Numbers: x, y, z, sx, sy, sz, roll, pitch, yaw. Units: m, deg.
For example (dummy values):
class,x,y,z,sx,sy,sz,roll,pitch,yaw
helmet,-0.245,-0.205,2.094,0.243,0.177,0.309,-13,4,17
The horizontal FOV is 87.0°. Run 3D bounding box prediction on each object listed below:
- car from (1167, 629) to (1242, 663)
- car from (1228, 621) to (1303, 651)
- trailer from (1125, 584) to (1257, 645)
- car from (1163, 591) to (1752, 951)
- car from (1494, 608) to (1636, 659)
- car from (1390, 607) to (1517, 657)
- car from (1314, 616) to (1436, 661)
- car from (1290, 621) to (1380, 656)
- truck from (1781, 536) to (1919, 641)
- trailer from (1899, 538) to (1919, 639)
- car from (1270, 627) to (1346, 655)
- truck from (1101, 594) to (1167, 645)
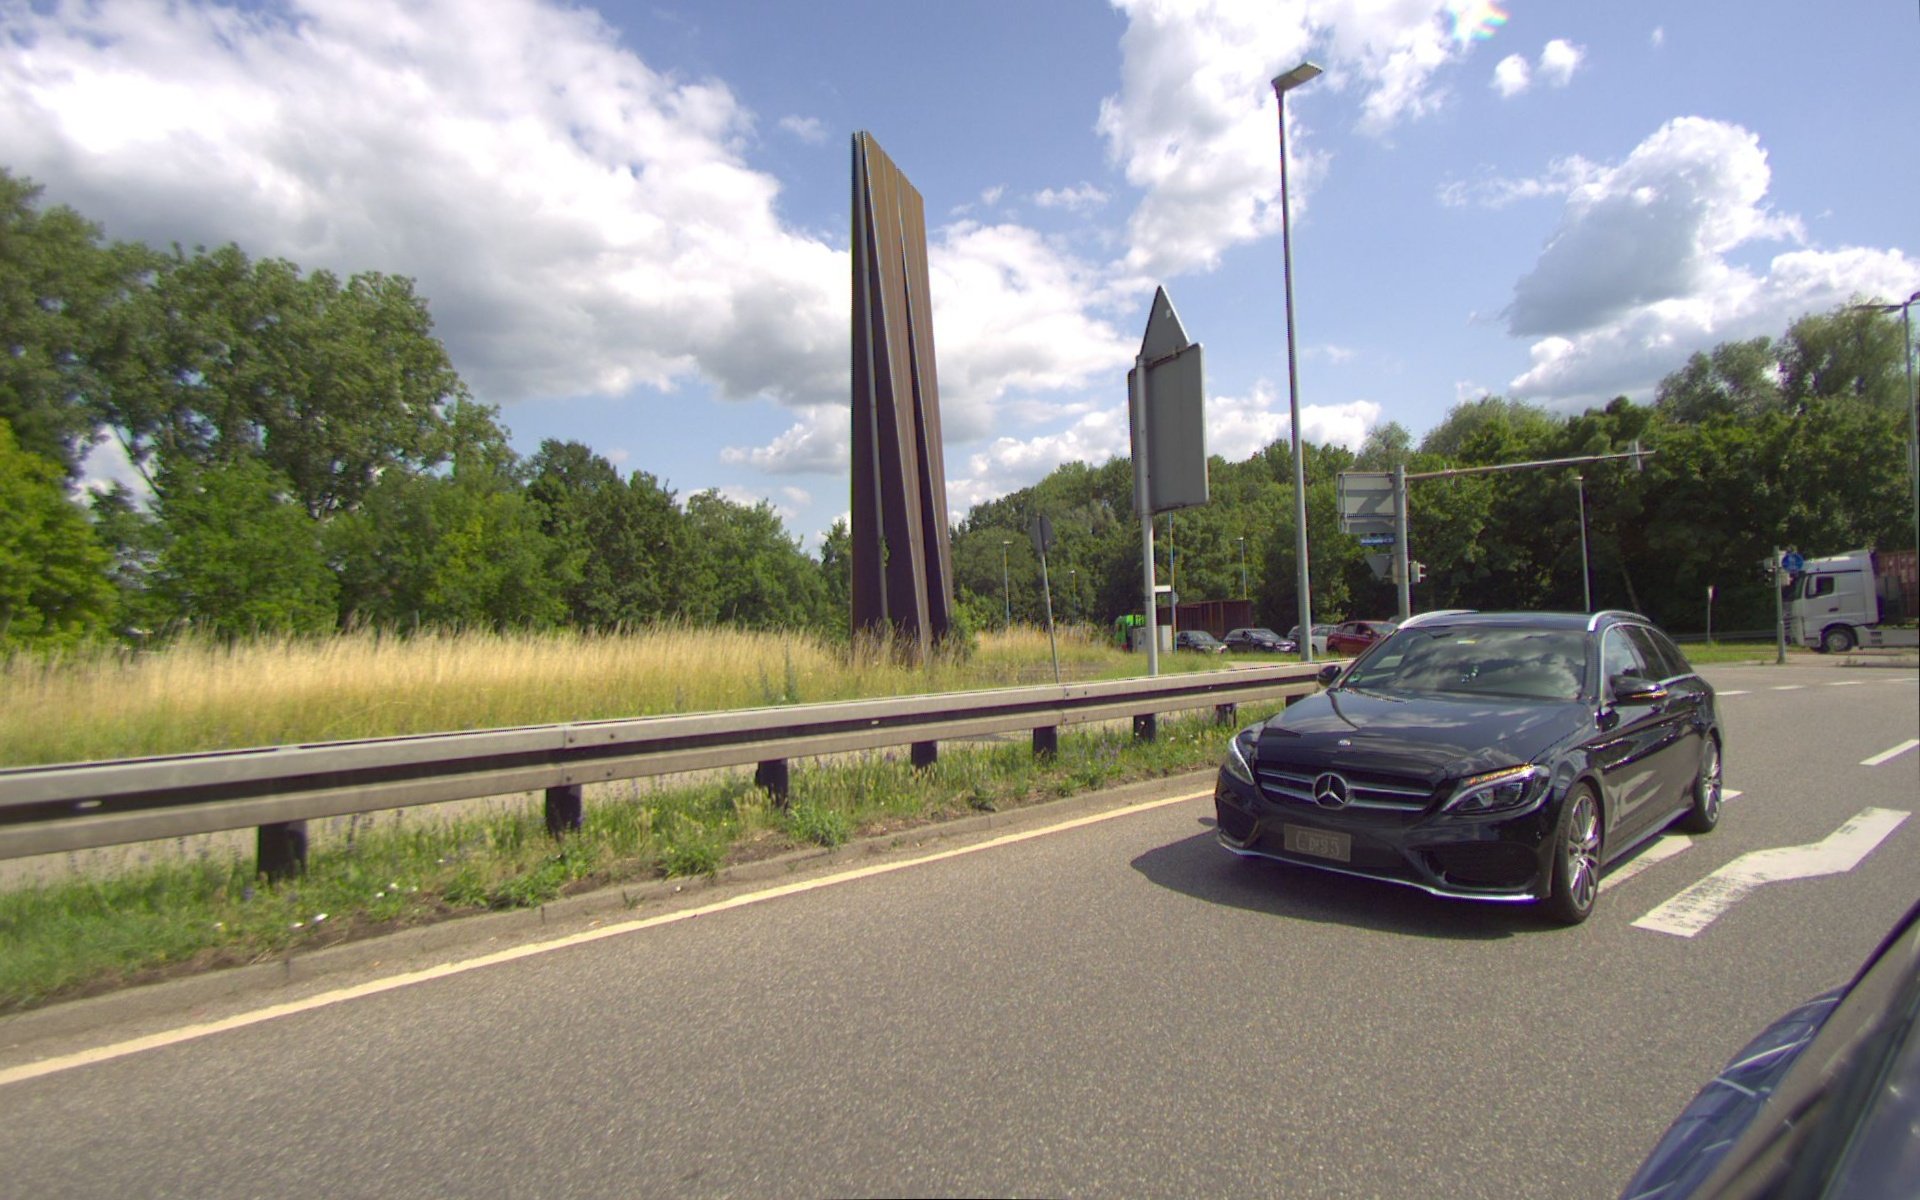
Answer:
class,x,y,z,sx,sy,sz,roll,pitch,yaw
car,11.506,2.181,47.933,1.828,1.483,4.005,-2,-2,-12
car,14.709,1.733,48.968,1.665,1.393,4.221,0,-2,-11
trailer,16.724,1.271,75.037,2.592,3.942,13.868,0,-3,-18
car,3.288,0.694,6.233,4.295,1.454,1.793,0,-1,-42
car,21.280,1.190,35.835,1.807,1.638,4.301,-2,-2,-11
car,17.347,1.136,35.799,1.799,1.667,4.221,0,-2,-11
car,13.789,1.284,33.924,1.722,1.393,4.221,0,-2,-11
car,15.912,1.645,43.147,1.612,1.393,4.221,0,-2,-11
truck,36.371,-0.399,39.015,6.755,3.895,2.750,-2,-2,28
trailer,42.756,-0.558,37.125,12.140,3.900,2.767,-1,-2,15
car,17.691,2.077,51.600,1.841,1.393,4.055,0,-2,-11
truck,14.104,1.659,82.549,2.817,3.955,5.886,0,-3,-17
